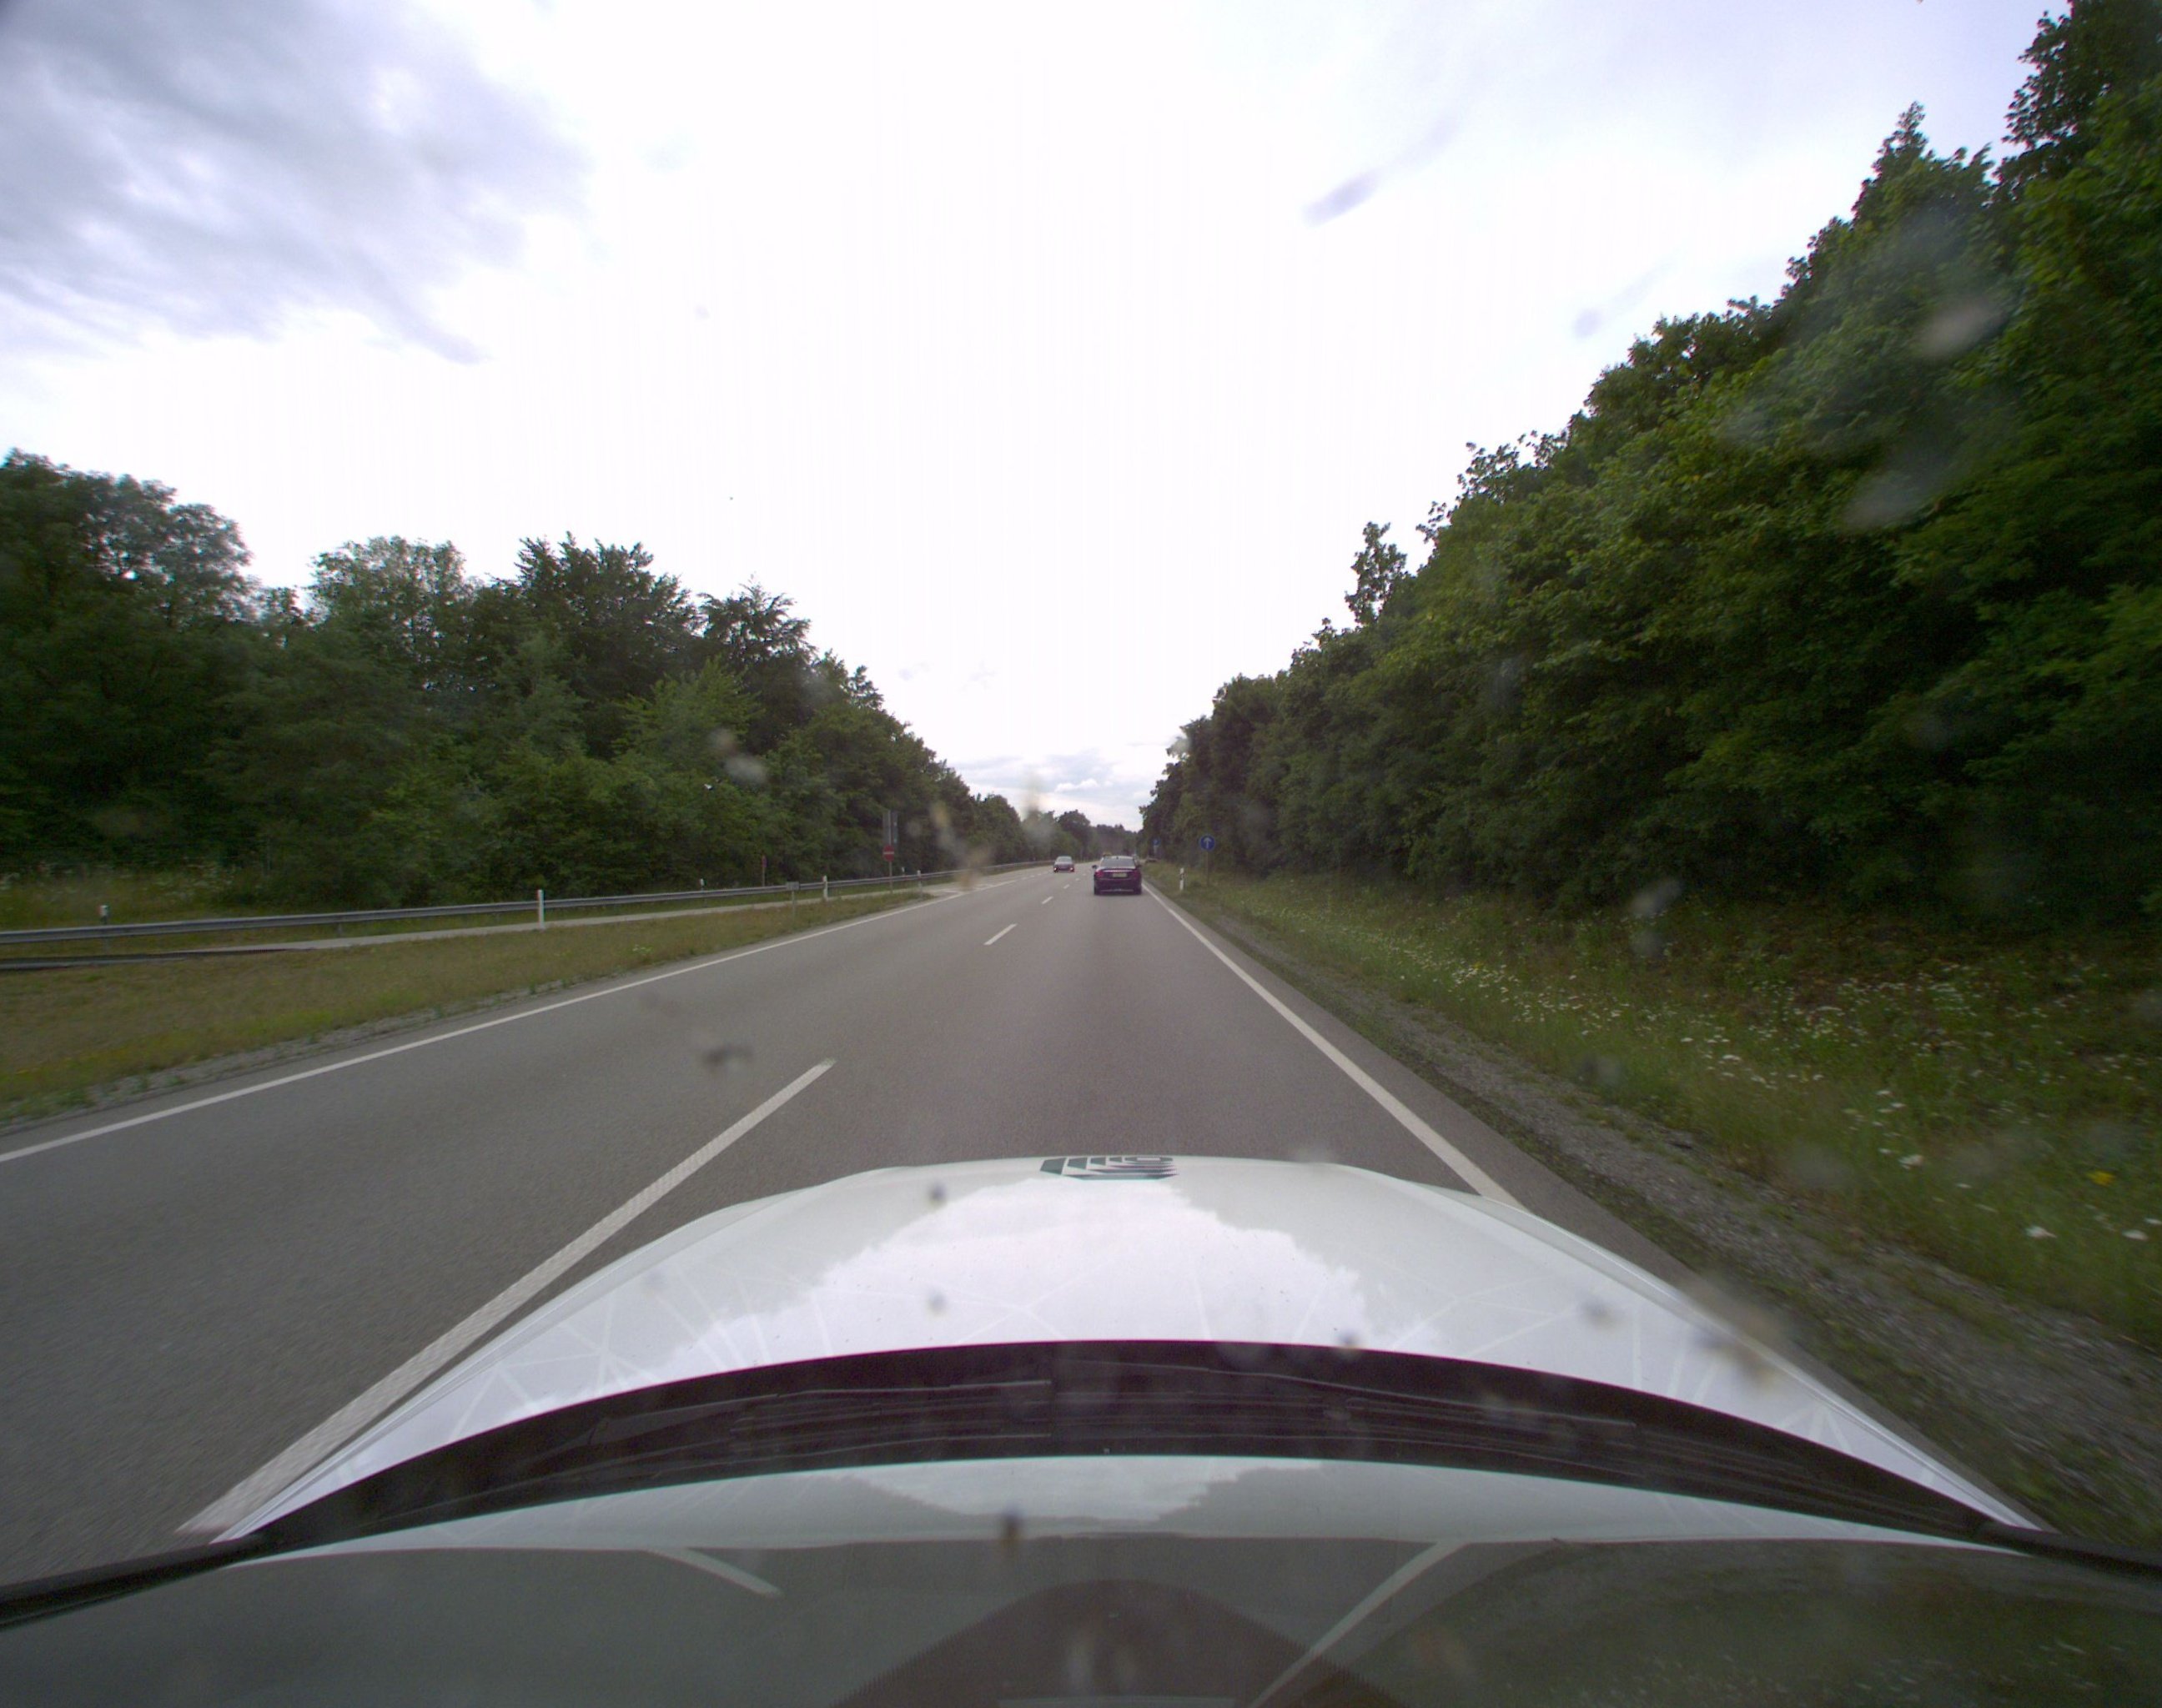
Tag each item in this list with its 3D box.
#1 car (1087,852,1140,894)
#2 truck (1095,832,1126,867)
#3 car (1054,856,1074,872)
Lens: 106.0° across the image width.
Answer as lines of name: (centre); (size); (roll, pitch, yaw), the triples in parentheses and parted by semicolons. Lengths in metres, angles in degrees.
car: (1.219, 0.705, 32.005); (1.787, 1.552, 3.997); (-1, 0, -2)
truck: (3.322, -0.453, 91.506); (3.268, 3.611, 11.406); (-1, 0, 2)
car: (-1.595, 0.927, 76.607); (1.802, 1.442, 4.447); (-1, 0, 0)
